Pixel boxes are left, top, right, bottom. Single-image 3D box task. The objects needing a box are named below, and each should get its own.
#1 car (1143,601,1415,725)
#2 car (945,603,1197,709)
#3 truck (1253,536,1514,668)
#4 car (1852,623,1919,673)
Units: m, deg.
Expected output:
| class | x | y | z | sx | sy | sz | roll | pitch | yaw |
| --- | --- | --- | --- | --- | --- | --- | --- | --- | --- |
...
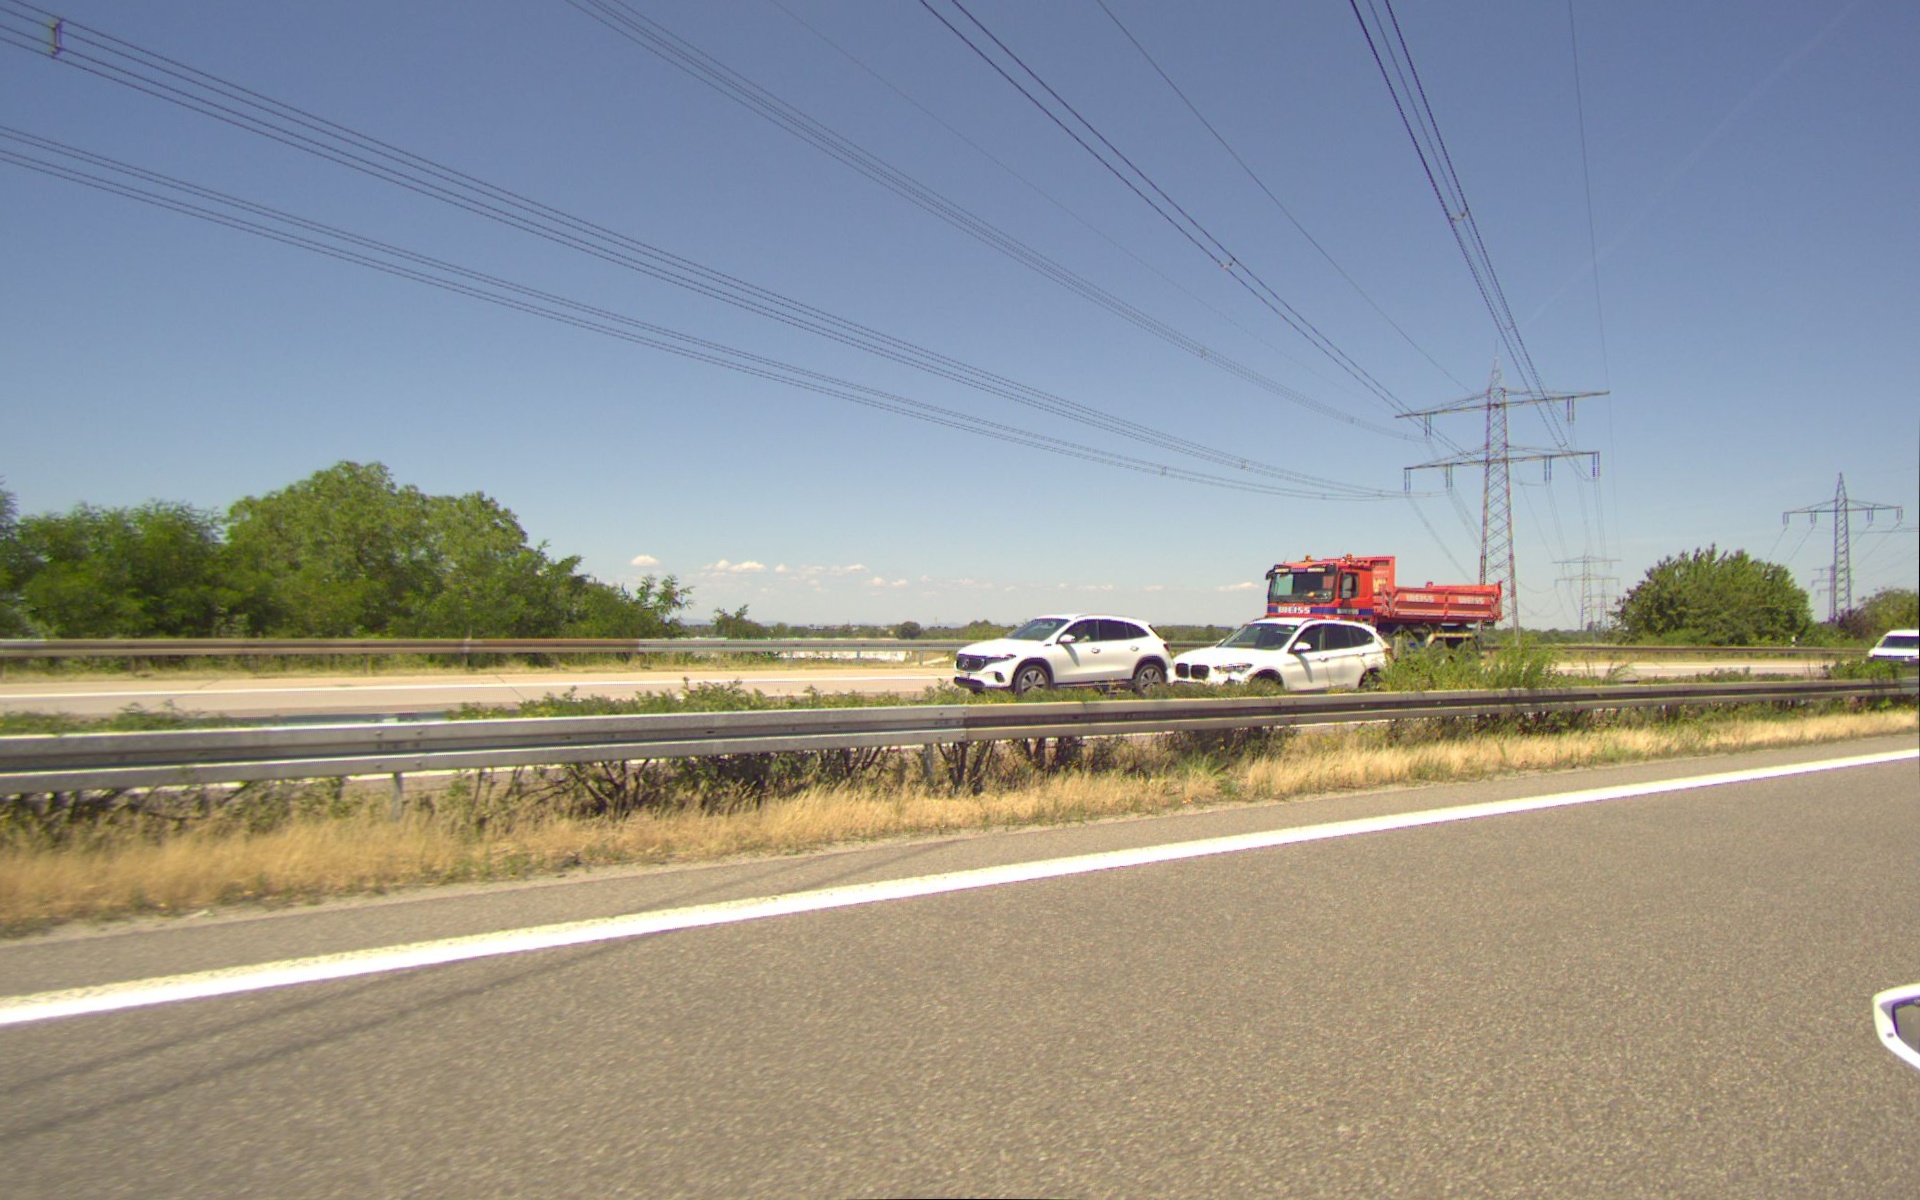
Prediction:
| class | x | y | z | sx | sy | sz | roll | pitch | yaw |
| --- | --- | --- | --- | --- | --- | --- | --- | --- | --- |
| car | 5.552 | 0.998 | 17.349 | 4.481 | 1.877 | 1.984 | 1 | 0 | -30 |
| car | 2.149 | 0.989 | 19.175 | 4.481 | 1.784 | 1.984 | 1 | 0 | -30 |
| truck | 13.006 | 0.165 | 30.543 | 8.433 | 3.574 | 2.757 | 2 | 0 | -30 |
| car | 37.230 | 1.846 | 39.511 | 4.317 | 1.797 | 1.962 | 1 | 0 | -30 |
